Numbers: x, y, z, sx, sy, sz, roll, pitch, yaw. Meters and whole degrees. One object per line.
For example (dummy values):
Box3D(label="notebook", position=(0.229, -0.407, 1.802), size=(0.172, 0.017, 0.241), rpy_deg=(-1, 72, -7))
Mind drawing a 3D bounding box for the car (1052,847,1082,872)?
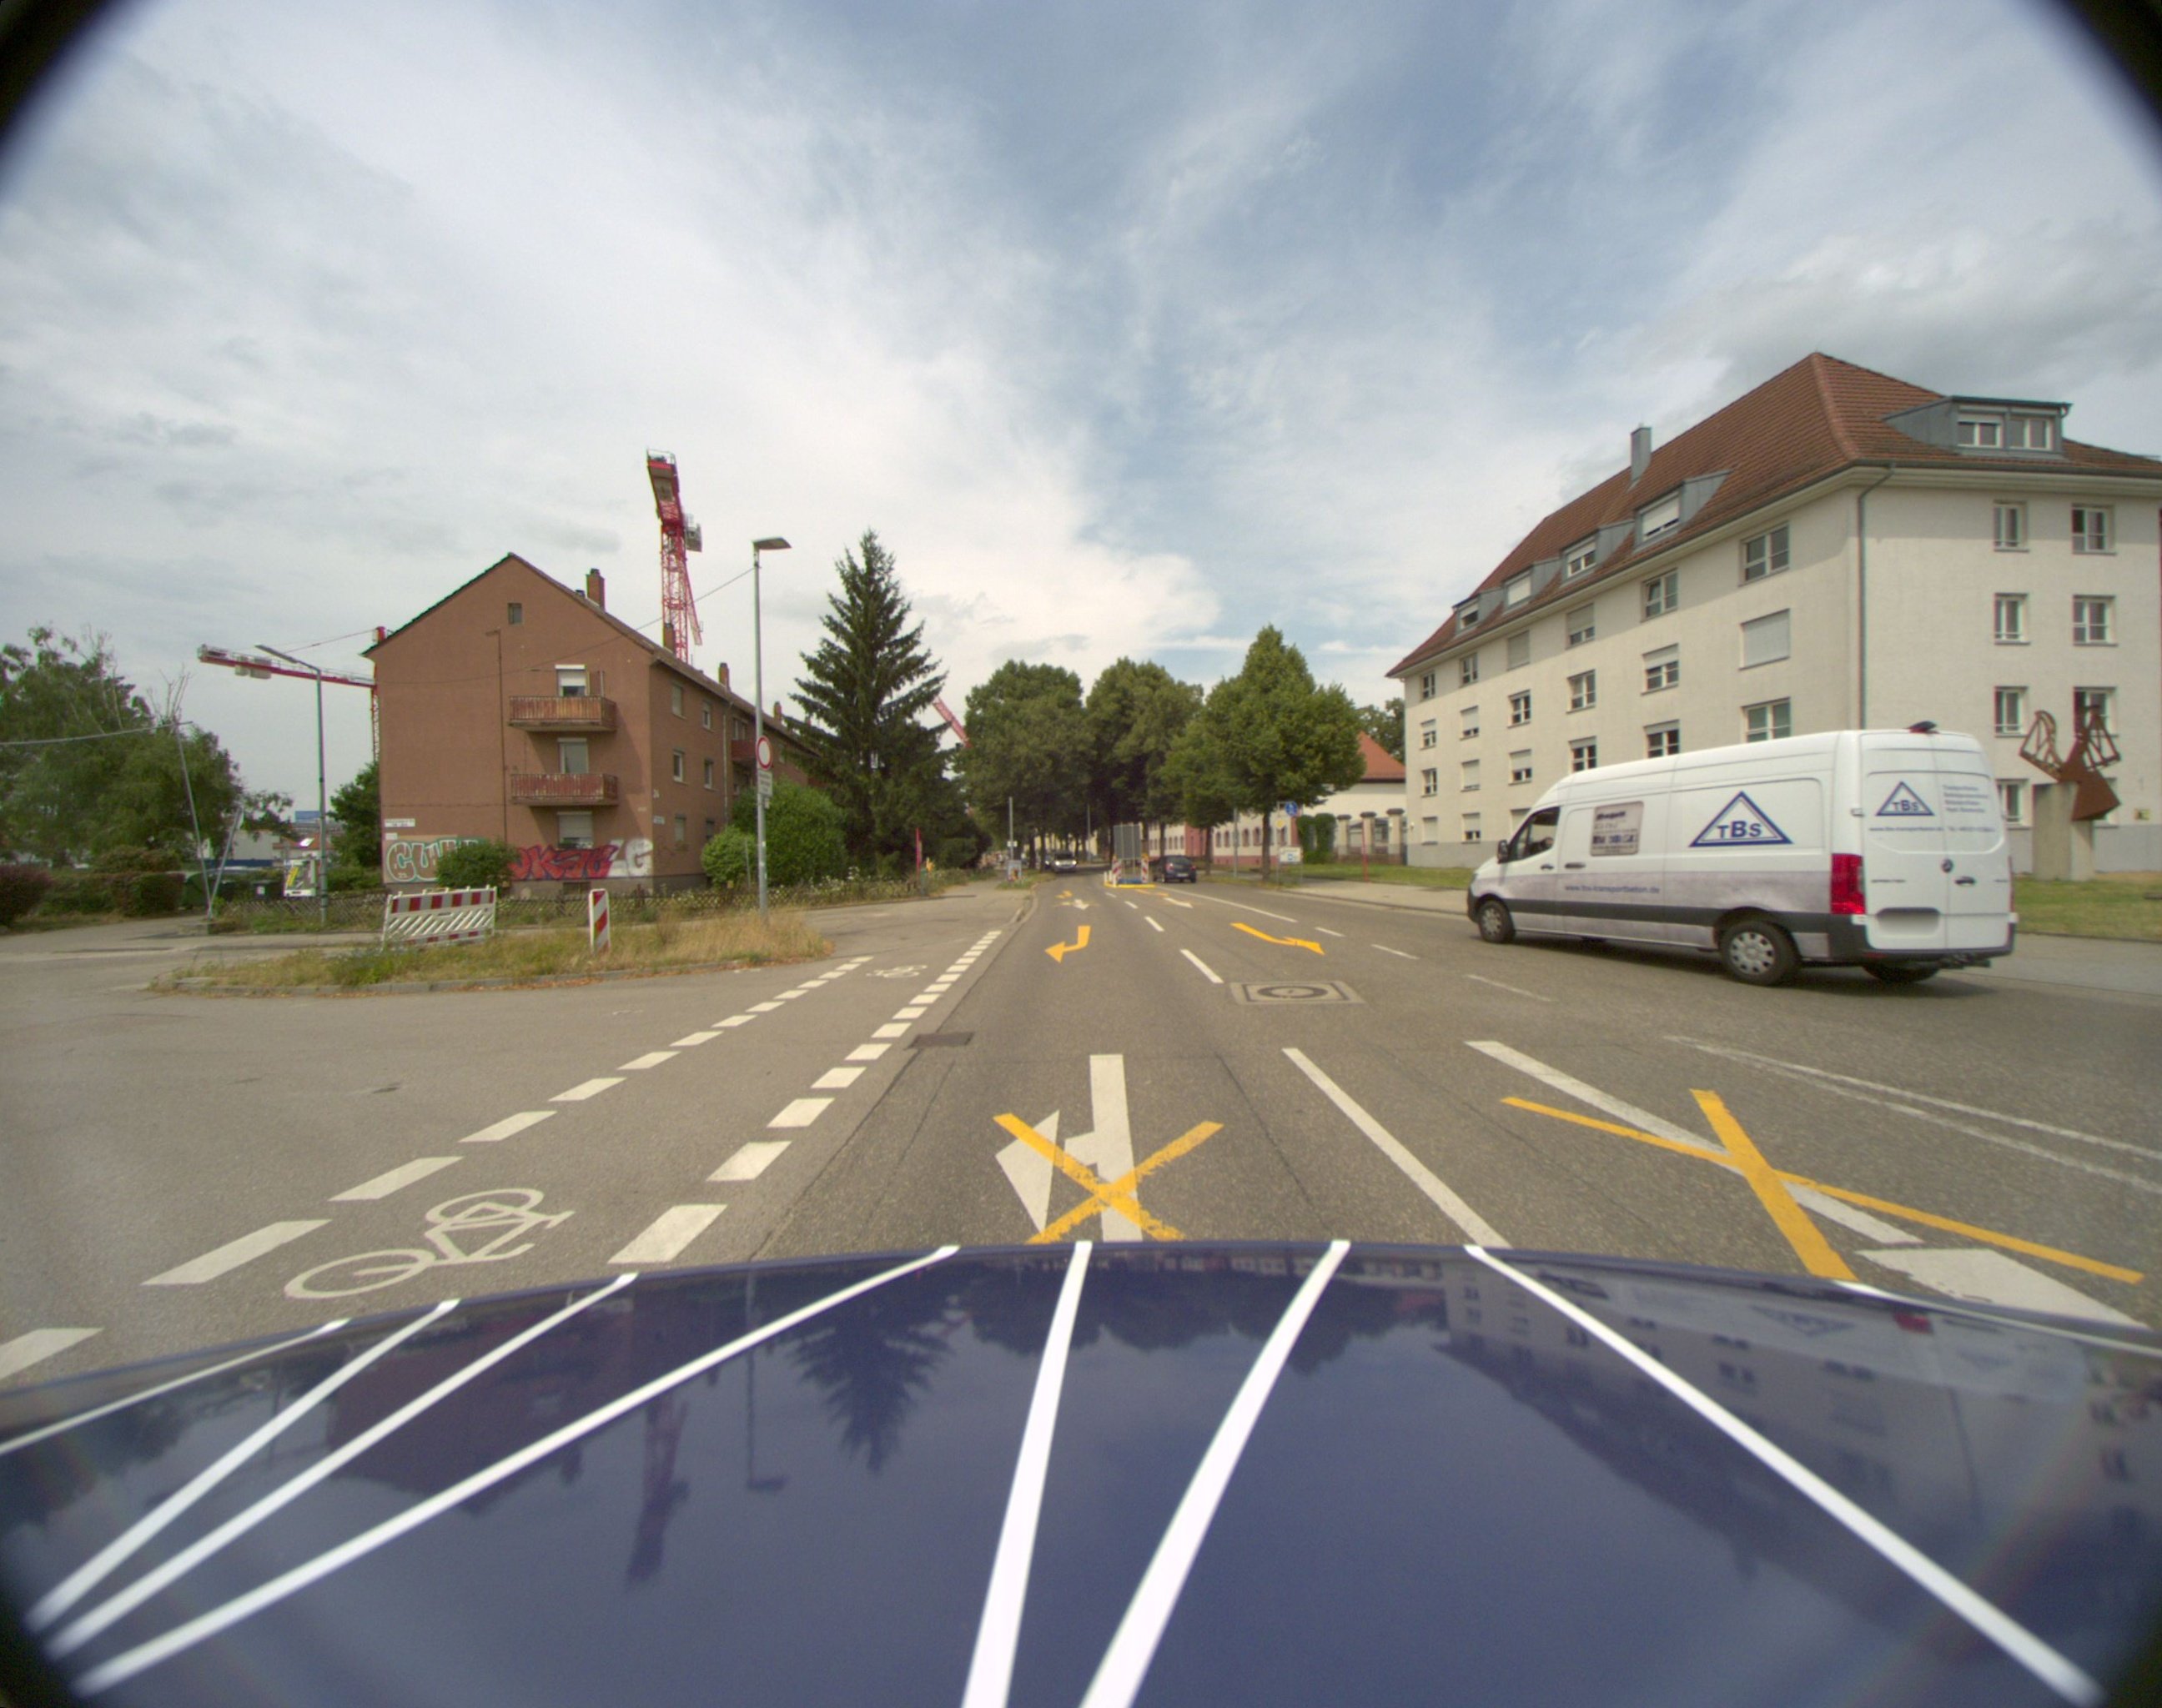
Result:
Box3D(label="car", position=(-1.194, 0.393, 62.858), size=(1.811, 1.936, 4.580), rpy_deg=(-2, 1, -10))

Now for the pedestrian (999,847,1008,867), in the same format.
Box3D(label="pedestrian", position=(-7.945, 0.315, 77.868), size=(0.856, 2.002, 0.731), rpy_deg=(-1, 1, -10))

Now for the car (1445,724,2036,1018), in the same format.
Box3D(label="car", position=(7.590, 0.117, 9.991), size=(2.071, 2.670, 5.965), rpy_deg=(-2, 1, -8))

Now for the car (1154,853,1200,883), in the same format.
Box3D(label="car", position=(4.927, 0.709, 39.605), size=(1.676, 1.402, 3.919), rpy_deg=(-1, 1, -3))
